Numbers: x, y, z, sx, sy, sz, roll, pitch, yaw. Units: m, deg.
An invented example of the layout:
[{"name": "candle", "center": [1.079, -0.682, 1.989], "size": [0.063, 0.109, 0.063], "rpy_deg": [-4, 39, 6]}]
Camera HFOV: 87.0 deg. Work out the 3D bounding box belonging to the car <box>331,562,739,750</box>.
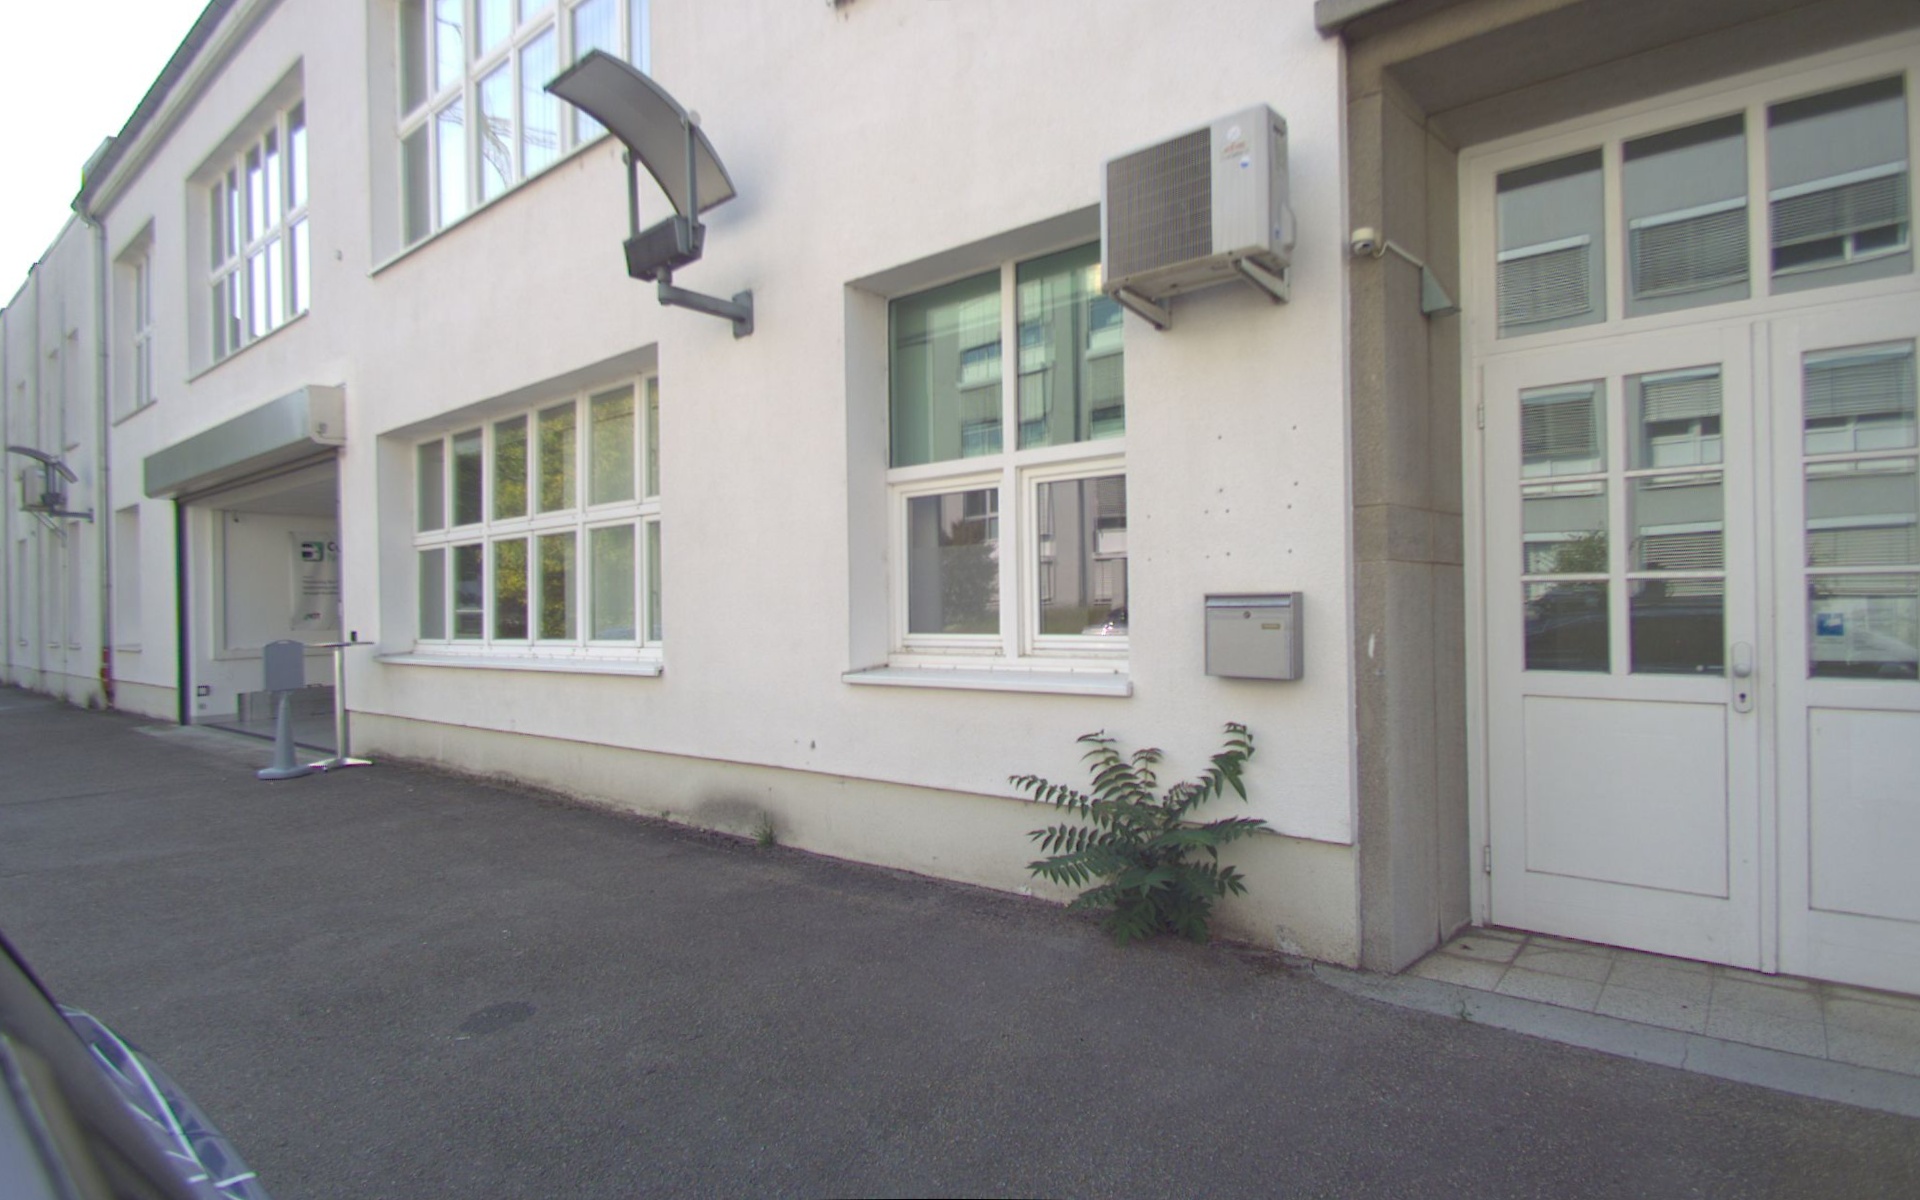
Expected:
[{"name": "car", "center": [-5.571, 0.603, 13.801], "size": [2.054, 2.108, 4.699], "rpy_deg": [-1, 0, 40]}]
